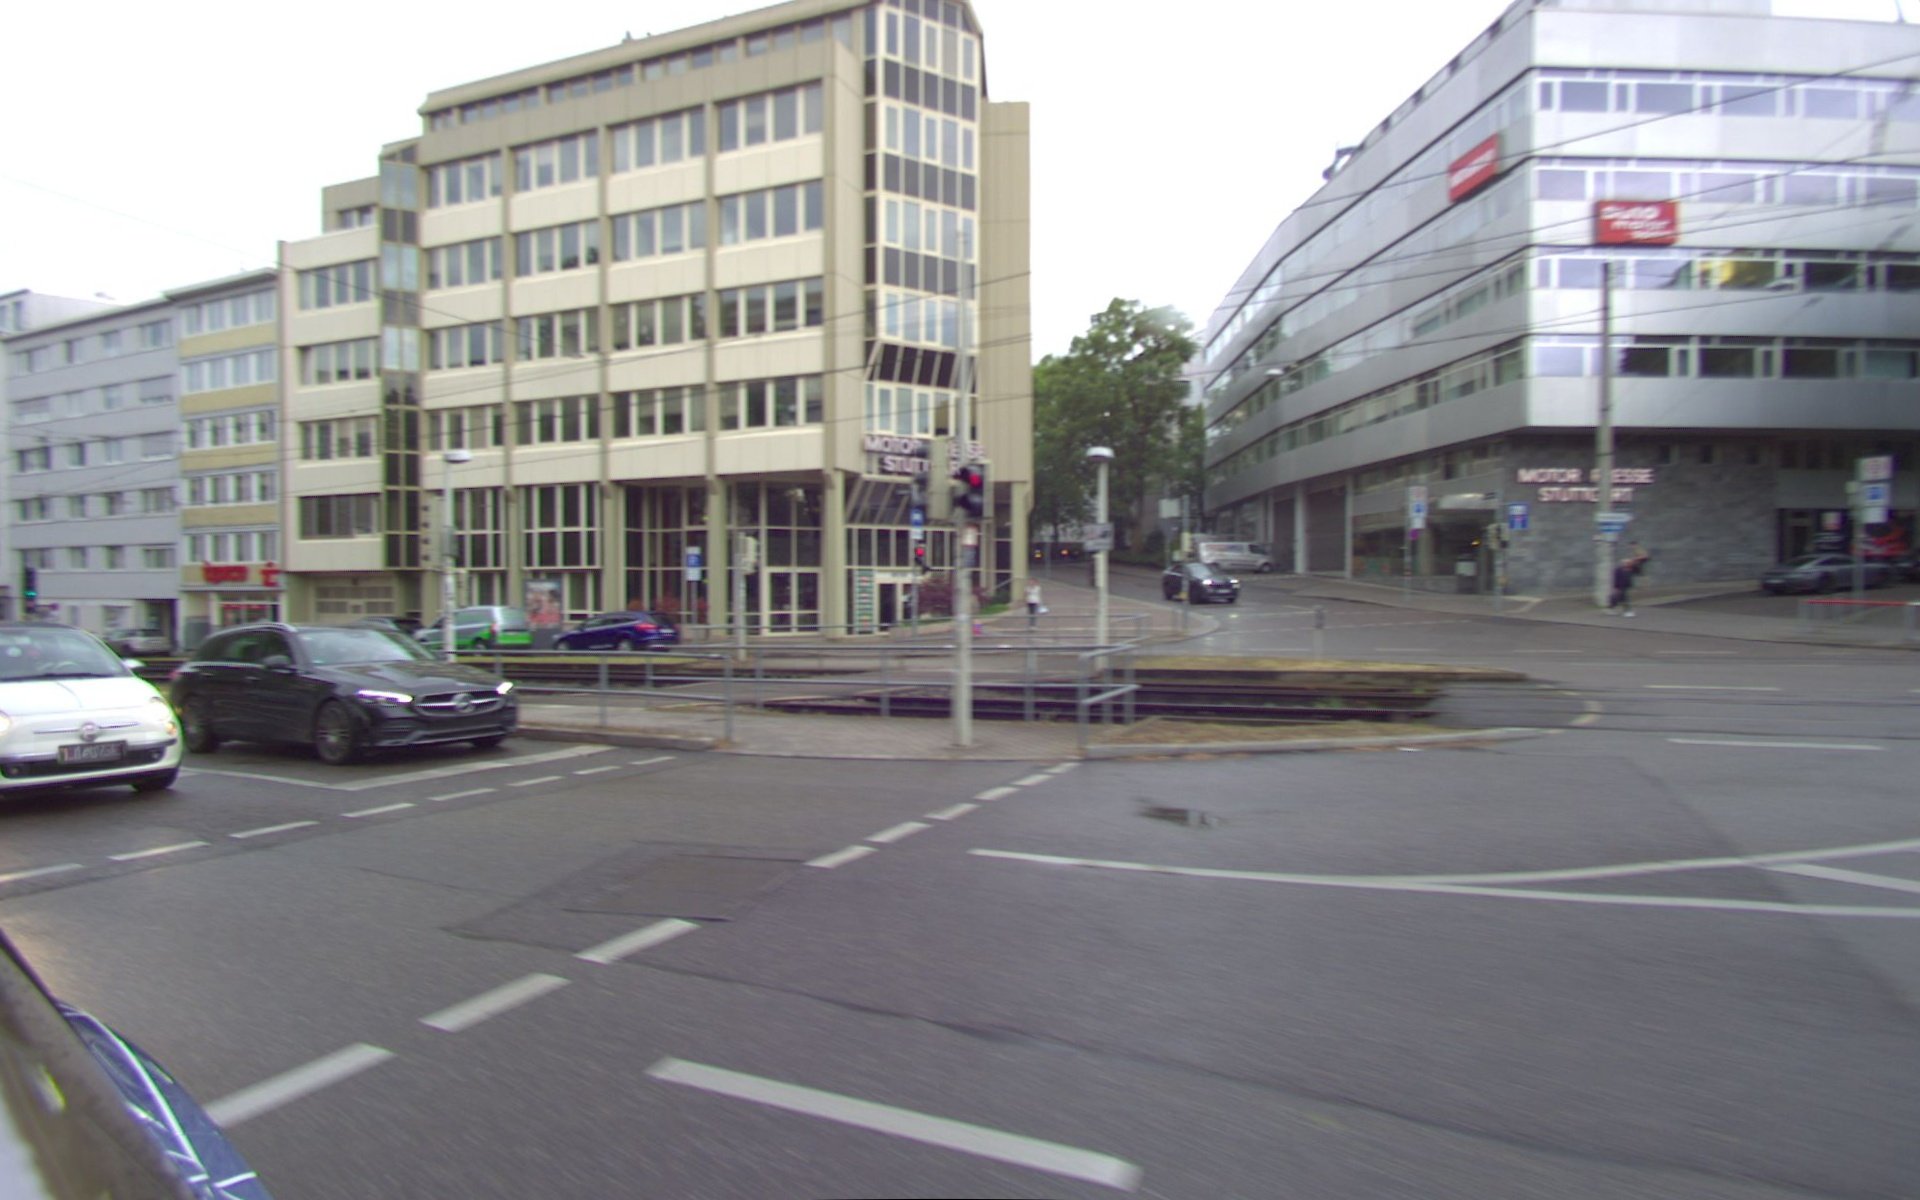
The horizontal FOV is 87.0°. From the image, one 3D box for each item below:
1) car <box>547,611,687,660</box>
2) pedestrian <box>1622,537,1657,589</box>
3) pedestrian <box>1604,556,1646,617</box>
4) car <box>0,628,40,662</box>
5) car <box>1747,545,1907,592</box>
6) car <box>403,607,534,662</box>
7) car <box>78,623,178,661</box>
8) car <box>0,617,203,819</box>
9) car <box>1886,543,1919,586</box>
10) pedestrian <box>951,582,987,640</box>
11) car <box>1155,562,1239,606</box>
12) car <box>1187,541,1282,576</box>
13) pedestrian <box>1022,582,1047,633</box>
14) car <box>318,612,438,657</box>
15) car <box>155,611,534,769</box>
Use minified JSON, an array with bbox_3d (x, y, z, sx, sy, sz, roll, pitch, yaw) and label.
[{"bbox_3d":[-10.963,1.129,32.334,4.193,1.488,1.786,-1,-1,25],"label":"car"},{"bbox_3d":[25.506,-1.382,38.003,0.749,1.874,0.720,-3,1,0],"label":"pedestrian"},{"bbox_3d":[20.955,-0.429,31.892,0.709,1.874,0.850,-1,1,-4],"label":"pedestrian"},{"bbox_3d":[-47.544,2.209,49.818,4.052,1.525,1.875,-1,1,24],"label":"car"},{"bbox_3d":[29.649,-1.057,34.669,4.030,1.441,1.881,-2,1,-6],"label":"car"},{"bbox_3d":[-17.186,1.198,35.377,4.189,1.759,1.788,-1,1,23],"label":"car"},{"bbox_3d":[-37.029,1.858,45.037,4.052,1.525,1.787,-1,1,24],"label":"car"},{"bbox_3d":[-8.161,0.886,8.513,3.425,1.445,1.639,-1,-1,29],"label":"car"},{"bbox_3d":[34.936,-1.289,35.174,3.938,1.441,1.881,-2,1,-6],"label":"car"},{"bbox_3d":[0.277,0.340,32.046,0.748,1.800,0.833,-2,2,-40],"label":"pedestrian"},{"bbox_3d":[10.062,-0.743,43.336,1.969,1.592,4.896,-2,4,-6],"label":"car"},{"bbox_3d":[17.010,-2.554,62.884,5.340,2.029,1.999,-1,-1,2],"label":"car"},{"bbox_3d":[2.464,0.234,33.559,0.709,1.651,0.761,-1,1,-4],"label":"pedestrian"},{"bbox_3d":[-21.620,1.269,37.594,4.052,1.525,1.787,-1,1,24],"label":"car"},{"bbox_3d":[-6.918,0.881,11.248,4.459,1.453,1.782,-1,-2,32],"label":"car"}]
